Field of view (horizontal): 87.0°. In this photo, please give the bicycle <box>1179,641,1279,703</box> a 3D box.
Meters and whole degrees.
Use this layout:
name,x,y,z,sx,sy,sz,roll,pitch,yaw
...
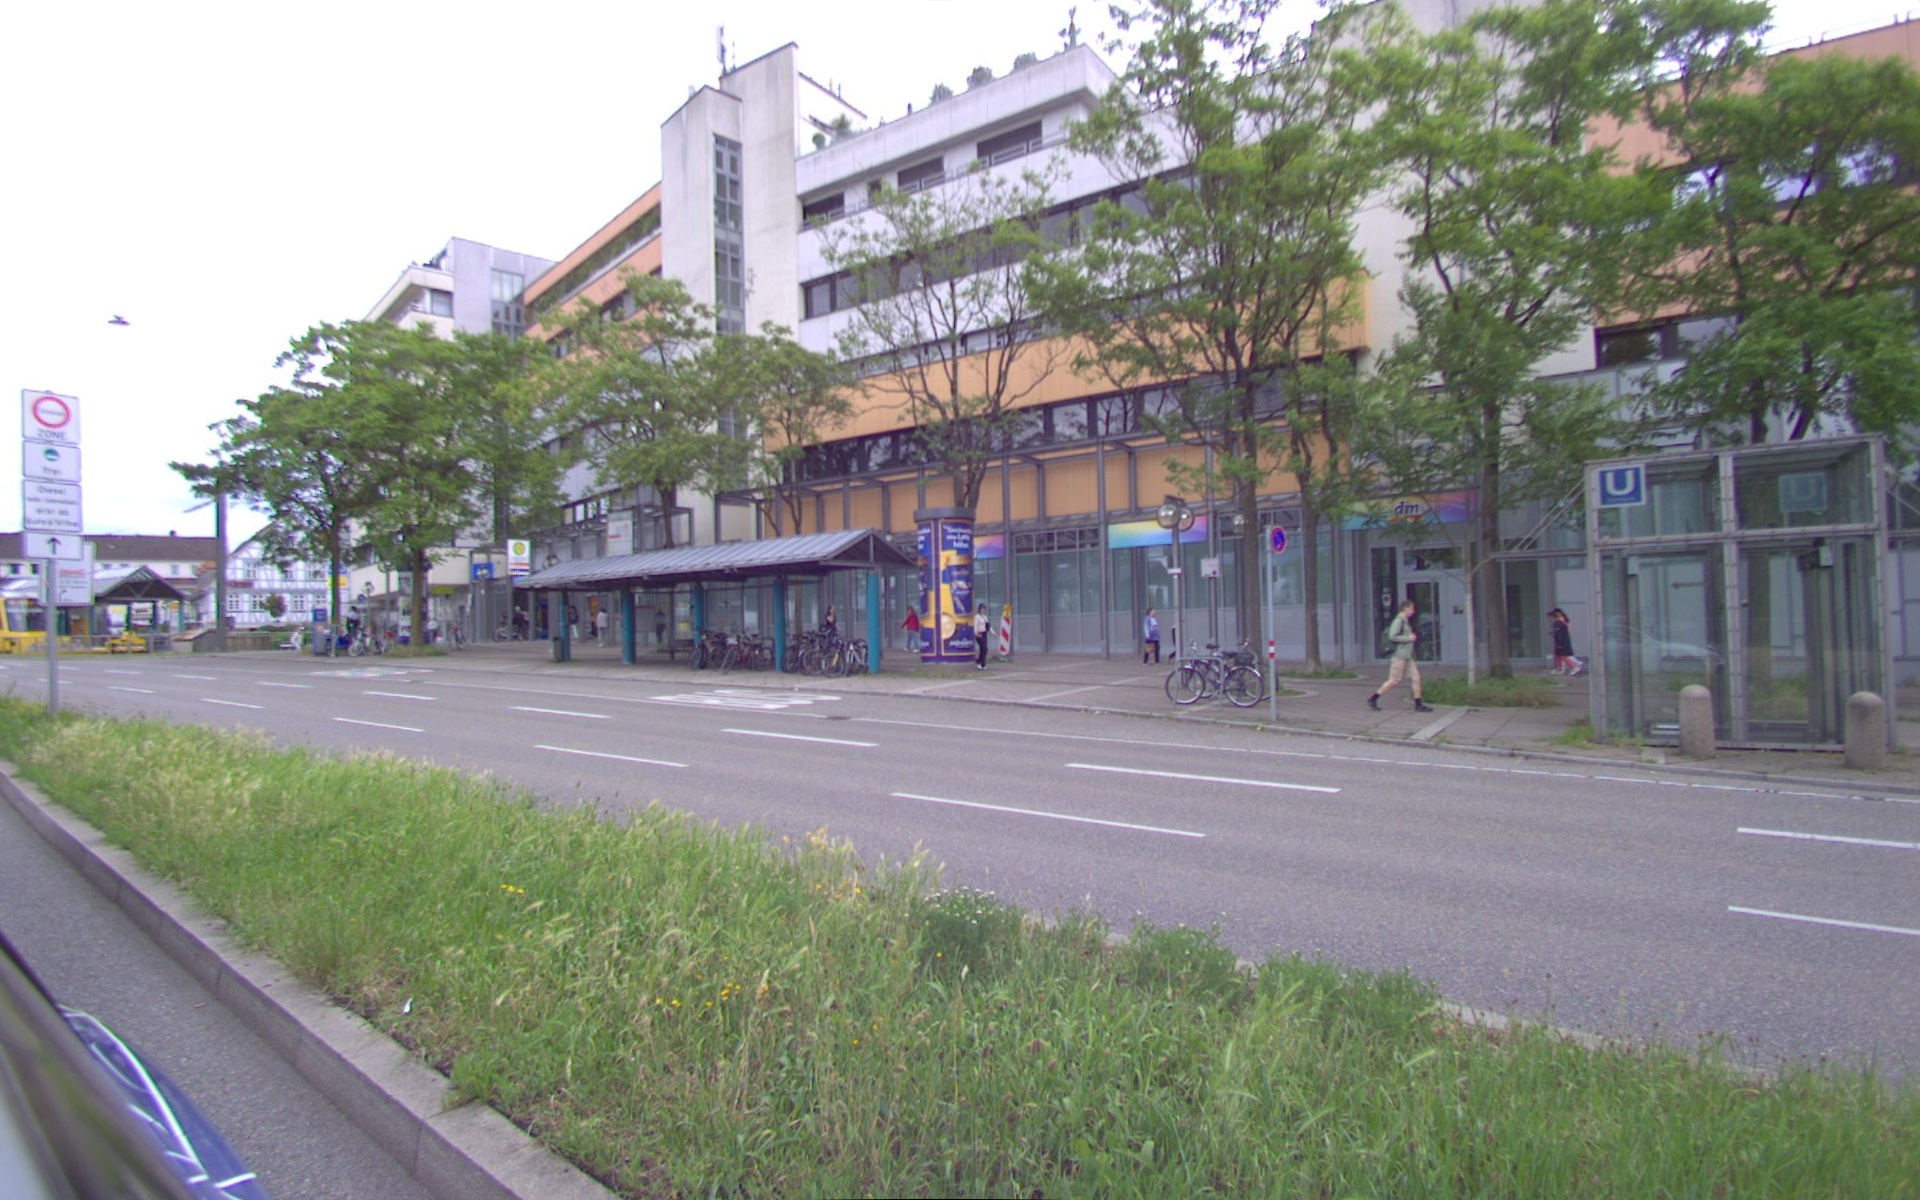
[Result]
name,x,y,z,sx,sy,sz,roll,pitch,yaw
bicycle,4.976,1.306,18.792,1.737,1.074,0.542,-2,-1,45

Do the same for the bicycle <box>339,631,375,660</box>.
name,x,y,z,sx,sy,sz,roll,pitch,yaw
bicycle,-23.622,1.757,39.654,0.585,1.085,2.042,0,-1,-12

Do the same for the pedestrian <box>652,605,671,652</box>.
name,x,y,z,sx,sy,sz,roll,pitch,yaw
pedestrian,-12.976,1.226,44.011,0.558,2.029,0.611,1,-2,-44

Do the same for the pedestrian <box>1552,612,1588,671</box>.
name,x,y,z,sx,sy,sz,roll,pitch,yaw
pedestrian,14.506,0.980,24.080,0.694,1.385,0.578,-1,-2,34

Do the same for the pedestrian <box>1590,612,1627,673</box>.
name,x,y,z,sx,sy,sz,roll,pitch,yaw
pedestrian,15.077,0.973,23.523,0.694,1.385,0.578,-1,-2,34

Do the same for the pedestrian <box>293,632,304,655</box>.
name,x,y,z,sx,sy,sz,roll,pitch,yaw
pedestrian,-35.158,2.312,53.782,0.368,1.188,0.338,-1,-2,31

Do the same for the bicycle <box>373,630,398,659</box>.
name,x,y,z,sx,sy,sz,roll,pitch,yaw
bicycle,-22.755,1.744,40.111,0.584,1.085,2.044,0,-1,-21

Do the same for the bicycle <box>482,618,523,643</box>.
name,x,y,z,sx,sy,sz,roll,pitch,yaw
bicycle,-26.105,1.725,57.768,2.106,1.377,0.621,-1,0,-24

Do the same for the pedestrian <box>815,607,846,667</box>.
name,x,y,z,sx,sy,sz,roll,pitch,yaw
pedestrian,-3.973,1.134,31.072,0.769,1.800,0.525,-1,-2,33

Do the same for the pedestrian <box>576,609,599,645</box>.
name,x,y,z,sx,sy,sz,roll,pitch,yaw
pedestrian,-17.347,1.259,47.154,0.752,1.695,0.755,-1,-2,41

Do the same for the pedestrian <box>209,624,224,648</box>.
name,x,y,z,sx,sy,sz,roll,pitch,yaw
pedestrian,-48.409,2.347,65.903,0.581,1.554,0.570,-1,-2,32

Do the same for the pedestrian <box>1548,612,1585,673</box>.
name,x,y,z,sx,sy,sz,roll,pitch,yaw
pedestrian,14.103,0.986,23.541,0.694,1.385,0.578,-1,-2,34

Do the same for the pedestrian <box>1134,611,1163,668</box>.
name,x,y,z,sx,sy,sz,roll,pitch,yaw
pedestrian,5.091,1.053,27.348,0.620,1.515,0.563,-1,-2,31

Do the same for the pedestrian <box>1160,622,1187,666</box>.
name,x,y,z,sx,sy,sz,roll,pitch,yaw
pedestrian,5.864,1.198,27.793,0.620,1.190,0.418,-1,-2,31

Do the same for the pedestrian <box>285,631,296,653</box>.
name,x,y,z,sx,sy,sz,roll,pitch,yaw
pedestrian,-35.334,2.218,53.430,0.368,1.188,0.338,-1,-2,31

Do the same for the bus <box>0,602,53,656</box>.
name,x,y,z,sx,sy,sz,roll,pitch,yaw
bus,-55.990,1.673,58.618,8.470,3.006,2.530,-1,-2,29

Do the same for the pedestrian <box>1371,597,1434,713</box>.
name,x,y,z,sx,sy,sz,roll,pitch,yaw
pedestrian,7.229,0.886,16.534,0.916,1.846,0.533,-1,-2,25

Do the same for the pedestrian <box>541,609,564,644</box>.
name,x,y,z,sx,sy,sz,roll,pitch,yaw
pedestrian,-19.744,1.286,49.038,0.752,1.695,0.755,-1,-2,41

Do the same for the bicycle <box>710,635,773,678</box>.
name,x,y,z,sx,sy,sz,roll,pitch,yaw
bicycle,-5.968,1.522,27.724,0.549,1.048,1.714,-2,1,38

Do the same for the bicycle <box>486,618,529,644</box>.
name,x,y,z,sx,sy,sz,roll,pitch,yaw
bicycle,-24.956,1.714,55.790,2.107,1.385,0.621,-1,0,-31

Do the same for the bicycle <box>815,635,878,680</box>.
name,x,y,z,sx,sy,sz,roll,pitch,yaw
bicycle,-2.912,1.466,26.062,0.549,1.048,1.714,-2,0,38

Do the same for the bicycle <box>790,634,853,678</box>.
name,x,y,z,sx,sy,sz,roll,pitch,yaw
bicycle,-3.622,1.451,26.595,0.549,1.048,1.714,-2,0,38

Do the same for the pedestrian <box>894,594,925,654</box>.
name,x,y,z,sx,sy,sz,roll,pitch,yaw
pedestrian,-1.720,0.814,34.663,0.791,2.029,0.703,-1,0,31

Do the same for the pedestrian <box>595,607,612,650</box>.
name,x,y,z,sx,sy,sz,roll,pitch,yaw
pedestrian,-15.481,1.233,43.909,0.639,1.823,0.761,0,-2,-16

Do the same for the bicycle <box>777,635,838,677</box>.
name,x,y,z,sx,sy,sz,roll,pitch,yaw
bicycle,-4.146,1.507,27.562,0.549,1.048,1.714,-2,-1,38

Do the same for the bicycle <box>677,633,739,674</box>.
name,x,y,z,sx,sy,sz,roll,pitch,yaw
bicycle,-7.241,1.527,29.151,0.549,1.048,1.714,-2,0,38

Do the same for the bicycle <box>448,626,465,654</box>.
name,x,y,z,sx,sy,sz,roll,pitch,yaw
bicycle,-21.360,1.698,42.931,0.584,1.134,2.044,1,-1,-26

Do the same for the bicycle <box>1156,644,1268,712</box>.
name,x,y,z,sx,sy,sz,roll,pitch,yaw
bicycle,4.360,1.318,17.600,0.802,1.068,1.739,0,-1,-40

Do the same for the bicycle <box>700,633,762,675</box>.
name,x,y,z,sx,sy,sz,roll,pitch,yaw
bicycle,-6.463,1.504,28.586,0.549,1.048,1.714,-2,1,38

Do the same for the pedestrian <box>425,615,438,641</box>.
name,x,y,z,sx,sy,sz,roll,pitch,yaw
pedestrian,-31.351,1.667,60.050,0.548,1.506,0.454,1,-2,-41

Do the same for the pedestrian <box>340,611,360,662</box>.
name,x,y,z,sx,sy,sz,roll,pitch,yaw
pedestrian,-28.081,1.694,46.615,0.608,2.325,0.583,-1,-2,39

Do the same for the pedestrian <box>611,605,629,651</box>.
name,x,y,z,sx,sy,sz,roll,pitch,yaw
pedestrian,-15.264,1.259,45.466,0.558,2.029,0.611,1,-2,-44

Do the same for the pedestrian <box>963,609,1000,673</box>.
name,x,y,z,sx,sy,sz,roll,pitch,yaw
pedestrian,0.571,1.073,26.866,0.721,1.662,0.669,-1,-1,37

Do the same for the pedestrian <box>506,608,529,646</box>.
name,x,y,z,sx,sy,sz,roll,pitch,yaw
pedestrian,-21.727,1.336,49.673,0.752,1.859,0.755,-1,-2,41
